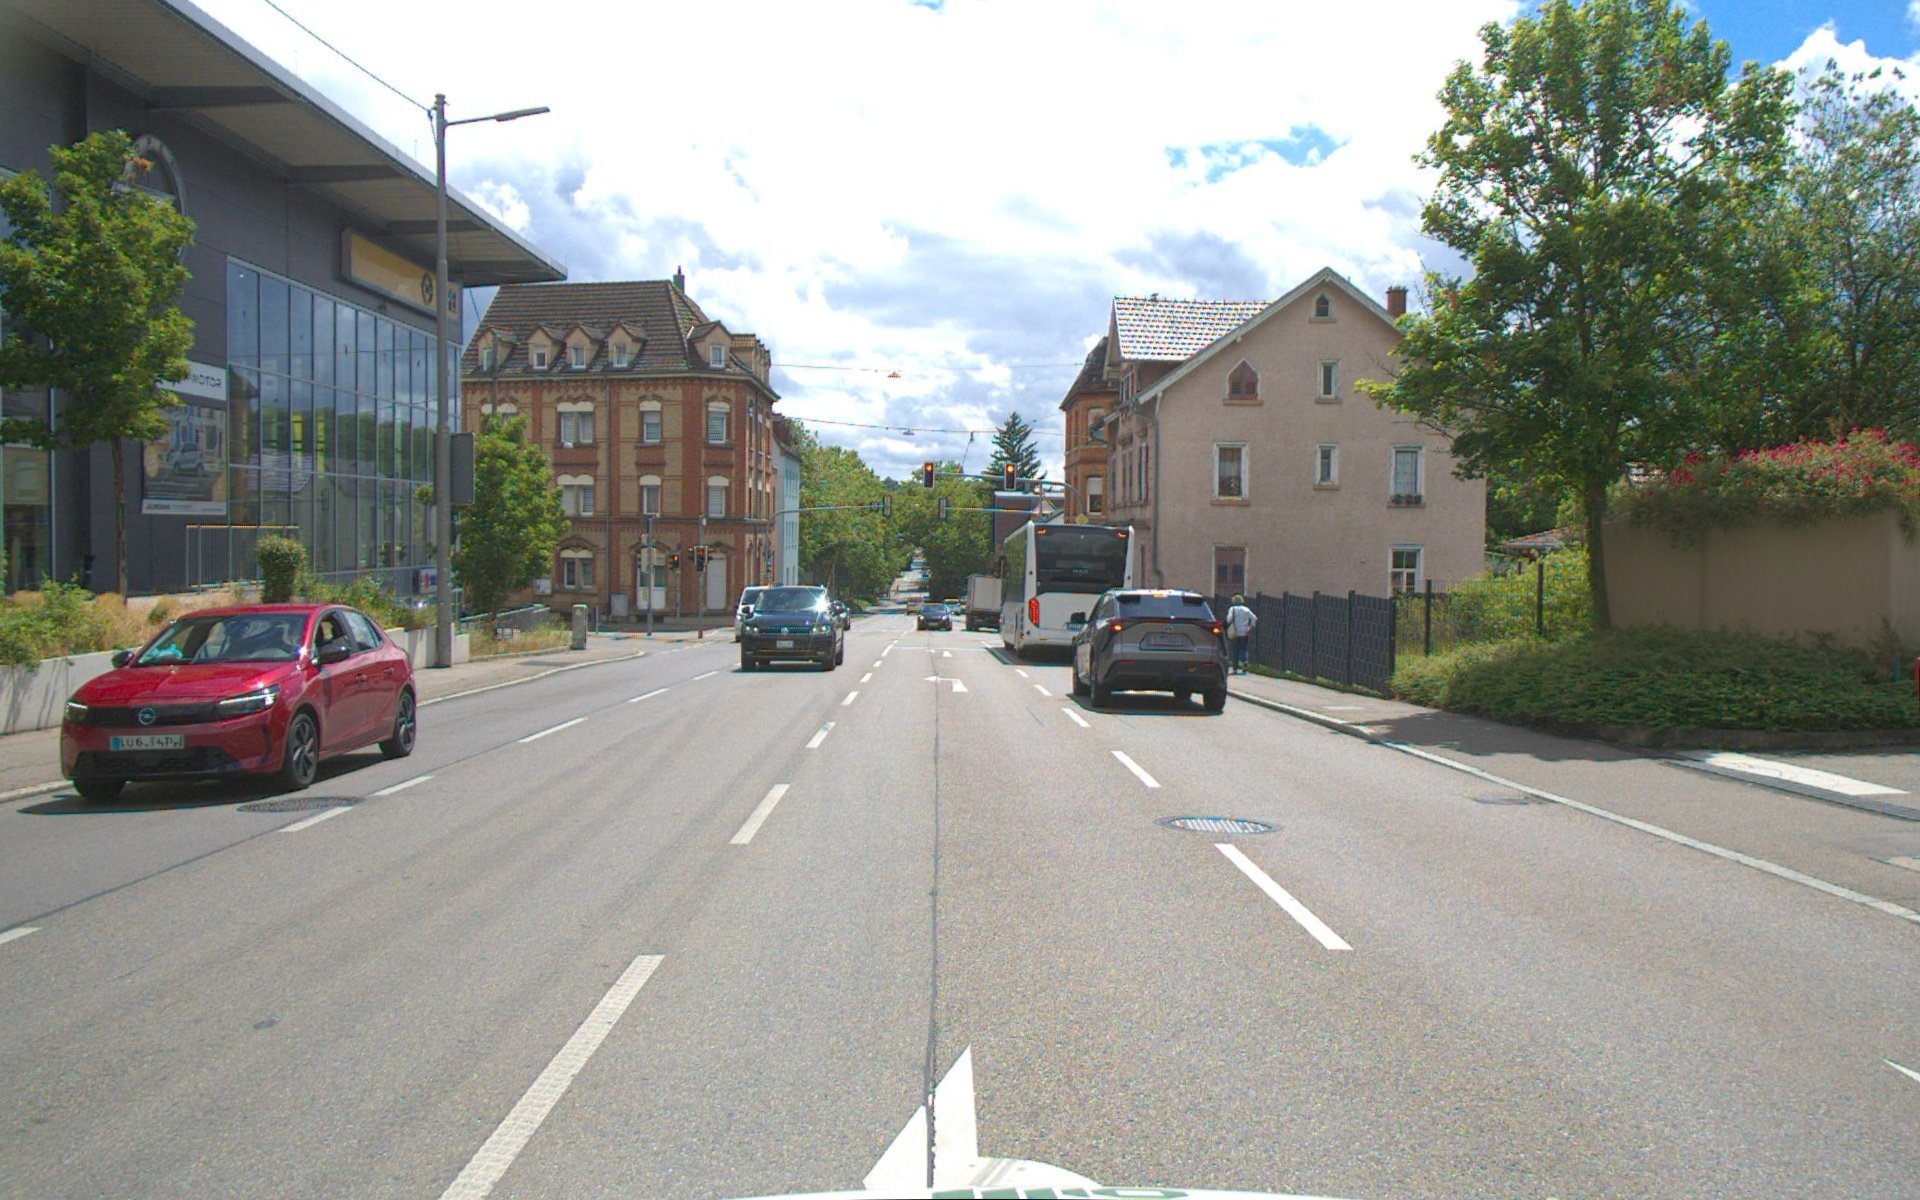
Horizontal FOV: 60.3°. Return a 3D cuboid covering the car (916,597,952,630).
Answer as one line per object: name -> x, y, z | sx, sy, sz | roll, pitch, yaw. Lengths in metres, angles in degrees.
car -> -1.378, 0.685, 87.067 | 1.826, 1.695, 4.258 | 0, 0, -2

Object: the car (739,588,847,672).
car -> -3.271, 0.553, 33.091 | 1.826, 1.567, 4.105 | 1, 0, -2

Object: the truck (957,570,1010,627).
truck -> 1.311, -0.103, 97.445 | 2.613, 3.162, 9.031 | -1, 0, -2

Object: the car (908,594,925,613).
car -> -4.587, 0.369, 173.689 | 1.795, 1.914, 3.999 | 0, 1, -2

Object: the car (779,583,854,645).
car -> -4.060, 0.371, 47.296 | 1.826, 1.685, 4.378 | 1, 0, -1

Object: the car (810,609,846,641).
car -> -7.360, 1.387, 92.576 | 1.826, 1.695, 4.258 | 0, 0, -2

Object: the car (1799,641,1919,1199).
car -> 2.894, 0.884, 1.429 | 1.893, 1.400, 4.204 | 0, 3, -6

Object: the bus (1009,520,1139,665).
bus -> 2.776, -0.265, 43.660 | 2.744, 3.253, 12.197 | 1, 1, 1

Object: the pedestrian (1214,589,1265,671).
pedestrian -> 5.663, 0.589, 33.536 | 0.796, 1.609, 1.069 | -2, 0, -1

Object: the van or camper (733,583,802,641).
van or camper -> -6.710, 0.395, 58.078 | 1.930, 1.948, 5.127 | 1, 0, -2

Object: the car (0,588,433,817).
car -> -5.894, 0.715, 13.670 | 1.833, 1.517, 3.848 | -2, 1, -1

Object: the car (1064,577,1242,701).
car -> 2.664, 0.556, 23.738 | 1.892, 1.611, 4.205 | 0, -1, -3
